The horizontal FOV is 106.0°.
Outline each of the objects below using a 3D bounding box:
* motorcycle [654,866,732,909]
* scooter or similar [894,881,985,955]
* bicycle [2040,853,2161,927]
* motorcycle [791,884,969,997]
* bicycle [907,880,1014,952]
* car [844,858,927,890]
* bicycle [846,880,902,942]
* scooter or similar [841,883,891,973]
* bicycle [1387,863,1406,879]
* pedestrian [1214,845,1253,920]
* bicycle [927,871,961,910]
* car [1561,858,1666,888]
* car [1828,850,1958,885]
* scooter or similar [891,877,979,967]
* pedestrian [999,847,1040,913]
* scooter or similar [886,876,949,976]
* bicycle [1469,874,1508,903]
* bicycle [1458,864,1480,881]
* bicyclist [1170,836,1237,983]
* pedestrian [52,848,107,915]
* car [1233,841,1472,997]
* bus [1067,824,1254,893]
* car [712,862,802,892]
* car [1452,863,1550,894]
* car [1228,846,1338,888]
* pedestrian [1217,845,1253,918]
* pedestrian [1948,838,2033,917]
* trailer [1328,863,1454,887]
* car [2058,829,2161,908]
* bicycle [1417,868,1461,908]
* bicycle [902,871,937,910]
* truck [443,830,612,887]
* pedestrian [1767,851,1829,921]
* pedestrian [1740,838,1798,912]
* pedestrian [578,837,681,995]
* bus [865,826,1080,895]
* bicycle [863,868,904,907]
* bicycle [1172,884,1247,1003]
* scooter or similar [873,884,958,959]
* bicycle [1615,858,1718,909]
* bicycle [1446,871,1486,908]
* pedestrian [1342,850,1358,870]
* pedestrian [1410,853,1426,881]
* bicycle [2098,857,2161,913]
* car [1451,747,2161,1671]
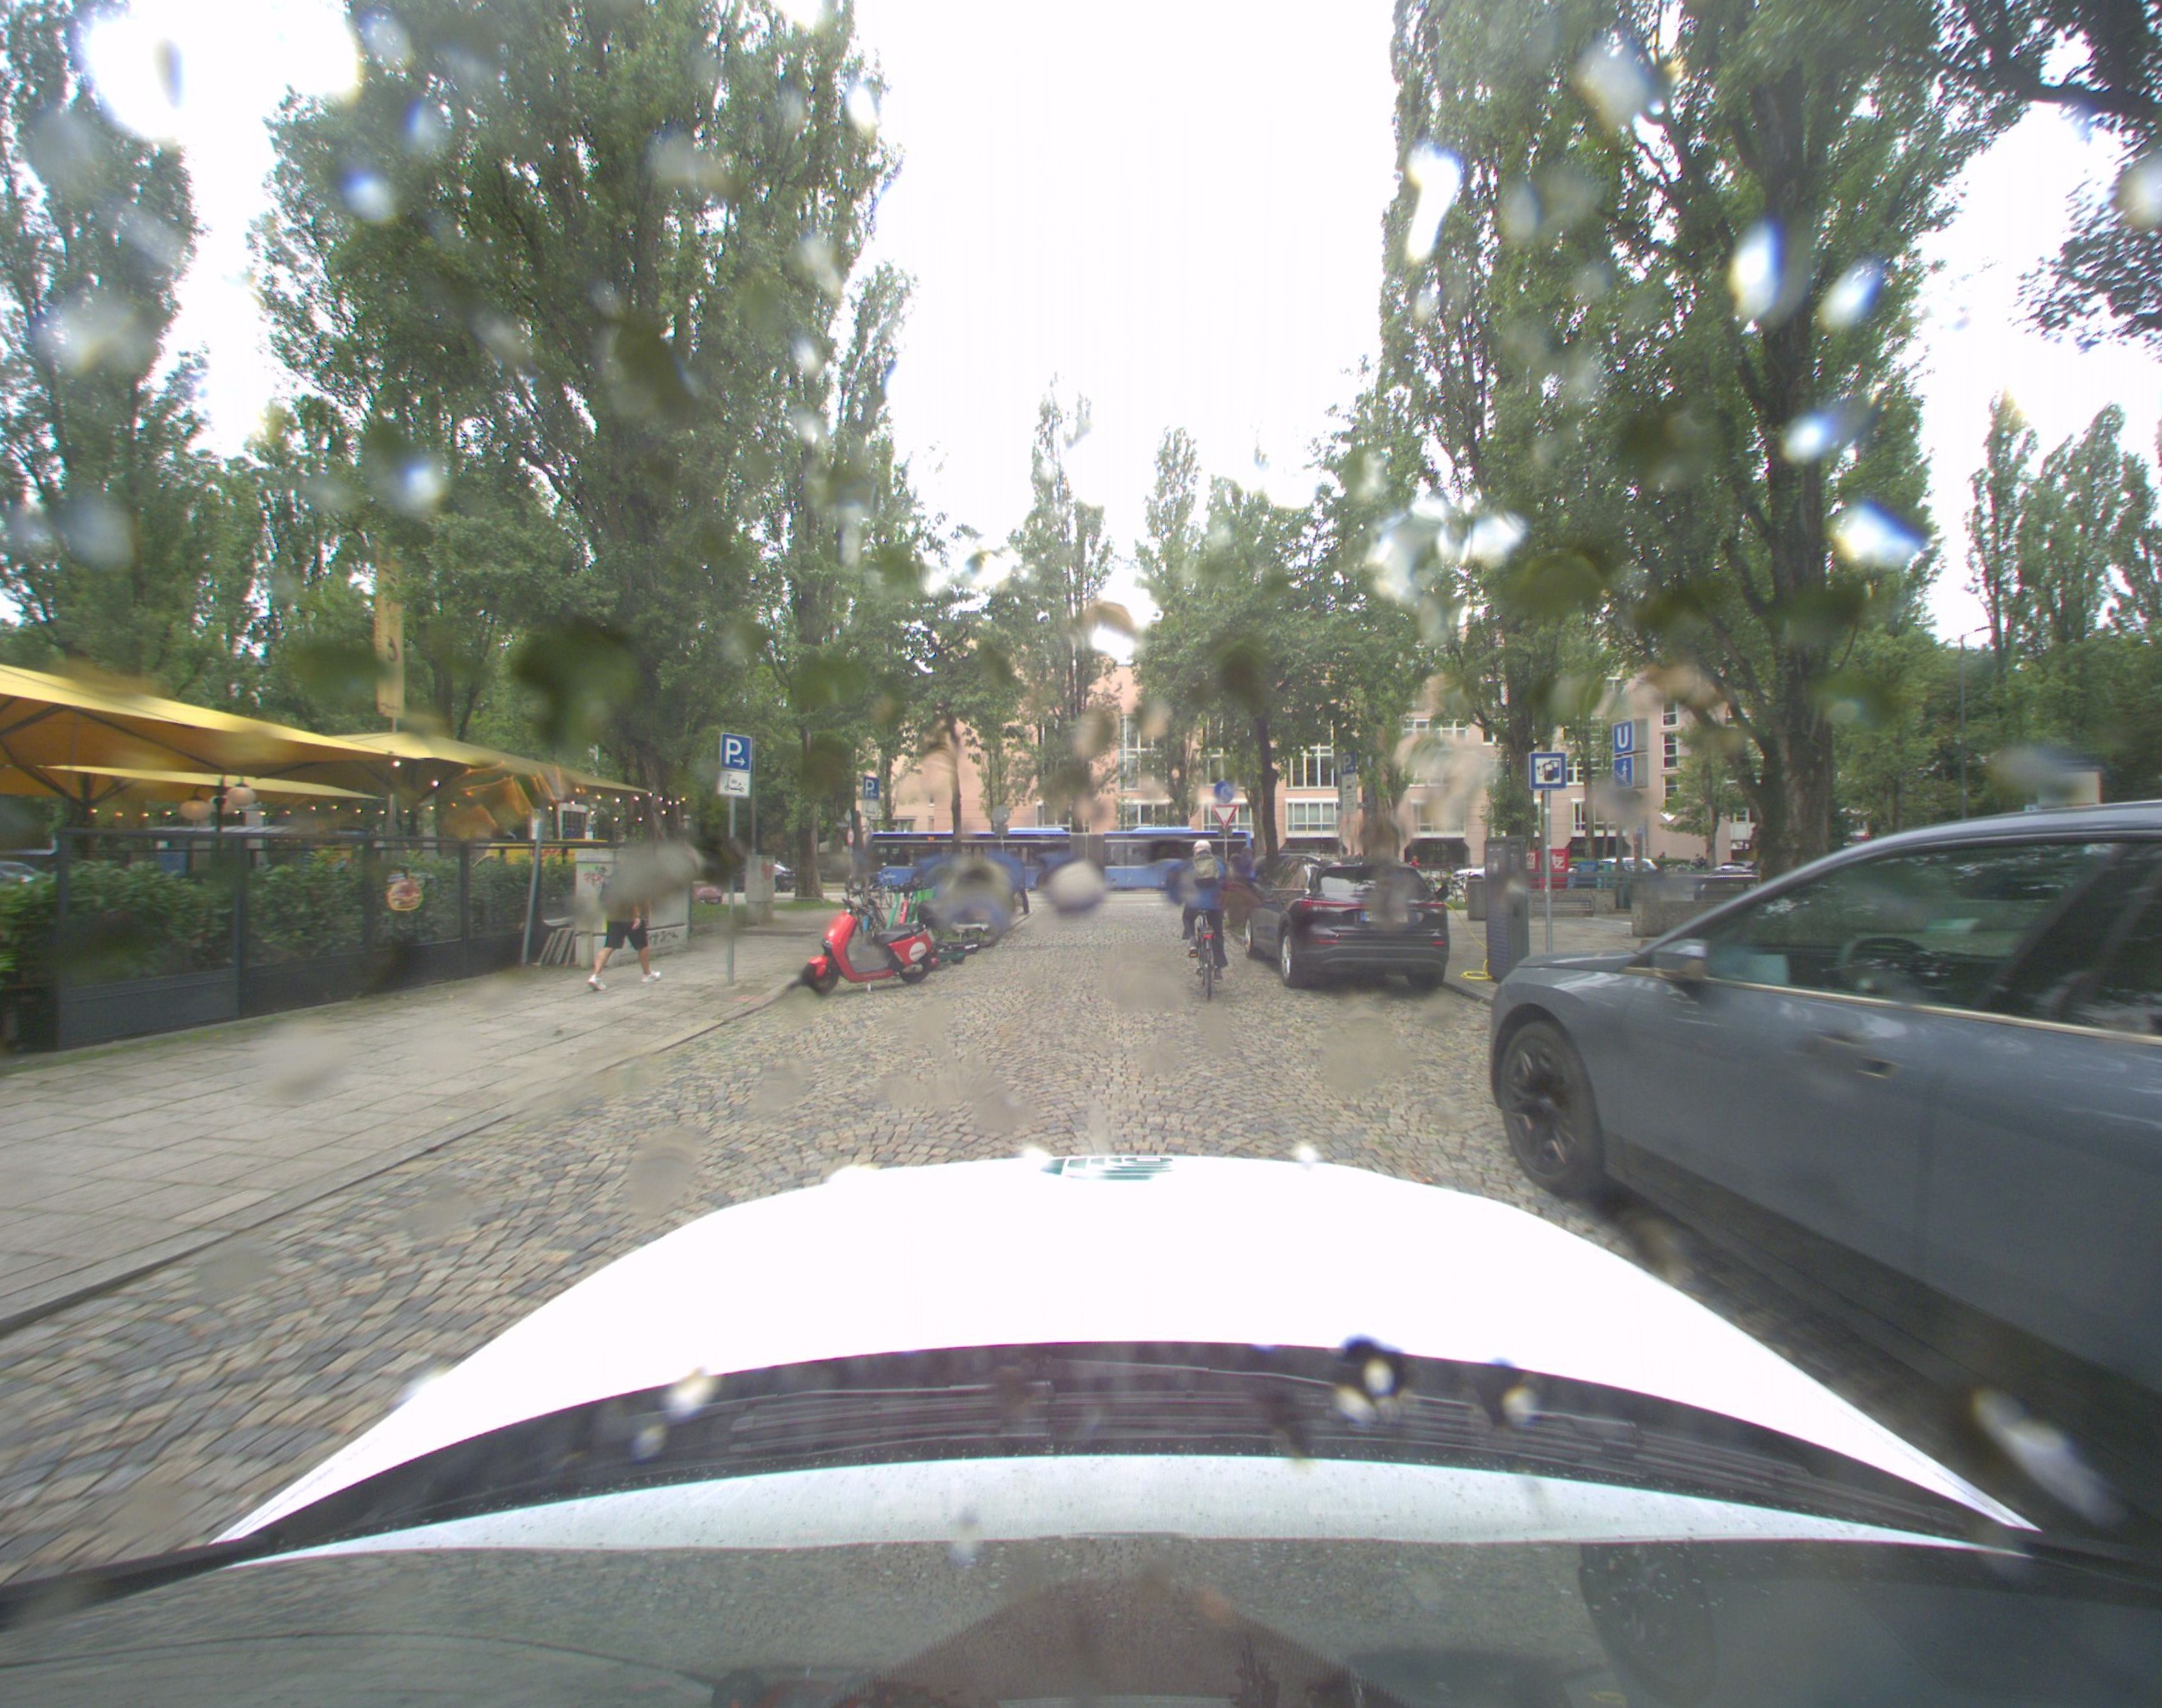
[{"bbox_3d":[-11.516,0.961,24.231,2.002,1.196,0.622,0,-1,-41],"label":"motorcycle"},{"bbox_3d":[-2.317,1.036,13.373,1.431,1.144,0.367,0,-1,-22],"label":"scooter or similar"},{"bbox_3d":[16.711,0.560,13.063,1.855,1.160,0.588,0,-1,3],"label":"bicycle"},{"bbox_3d":[-2.421,0.993,9.969,2.001,1.196,0.762,0,-1,-41],"label":"motorcycle"},{"bbox_3d":[-2.086,1.047,14.167,1.767,1.143,0.549,0,-1,-29],"label":"bicycle"},{"bbox_3d":[-10.690,1.108,44.754,4.050,1.732,1.794,0,-2,1],"label":"car"},{"bbox_3d":[-3.759,1.003,14.905,0.550,1.022,1.763,0,0,1],"label":"bicycle"},{"bbox_3d":[-3.087,1.029,11.646,0.391,1.180,1.239,0,-1,-29],"label":"scooter or similar"},{"bbox_3d":[22.037,1.164,56.851,0.671,1.124,1.991,-1,0,4],"label":"bicycle"},{"bbox_3d":[3.501,0.646,18.686,0.837,1.680,0.613,0,-1,12],"label":"pedestrian"},{"bbox_3d":[-4.067,1.072,24.320,0.487,1.093,1.707,0,-1,8],"label":"bicycle"},{"bbox_3d":[28.215,0.996,43.268,4.295,1.542,2.000,0,-1,1],"label":"car"},{"bbox_3d":[42.556,0.711,42.768,4.727,1.797,2.001,0,-1,2],"label":"car"},{"bbox_3d":[-2.172,0.990,12.157,1.254,1.273,0.324,0,-1,-29],"label":"scooter or similar"},{"bbox_3d":[-1.618,0.676,21.514,0.952,1.711,0.858,-1,-1,1],"label":"pedestrian"},{"bbox_3d":[-2.234,0.954,11.258,0.324,1.273,1.362,0,-1,13],"label":"scooter or similar"},{"bbox_3d":[11.806,0.989,23.639,0.467,0.818,1.837,0,-1,8],"label":"bicycle"},{"bbox_3d":[26.915,1.275,56.486,0.671,1.124,1.991,-1,0,4],"label":"bicycle"},{"bbox_3d":[1.389,0.610,9.338,0.718,1.619,0.758,0,-1,5],"label":"bicyclist"},{"bbox_3d":[-26.547,0.717,21.600,0.645,1.728,0.698,0,-1,-21],"label":"pedestrian"},{"bbox_3d":[3.375,0.729,11.038,1.914,1.700,4.202,0,0,1],"label":"car"},{"bbox_3d":[3.671,0.206,38.526,8.455,3.052,2.929,-1,-1,2],"label":"bus"},{"bbox_3d":[-17.802,1.269,44.860,4.205,1.601,1.795,0,-1,3],"label":"car"},{"bbox_3d":[22.165,1.304,43.105,4.200,1.542,1.808,-1,-2,5],"label":"car"},{"bbox_3d":[10.827,0.687,43.948,5.456,2.197,2.025,0,-1,3],"label":"car"},{"bbox_3d":[3.659,0.633,19.327,0.798,1.696,0.666,0,-1,12],"label":"pedestrian"},{"bbox_3d":[21.872,0.554,19.607,1.005,1.866,0.921,0,-1,8],"label":"pedestrian"},{"bbox_3d":[16.480,1.121,43.593,5.884,1.199,2.407,0,0,3],"label":"trailer"},{"bbox_3d":[28.292,0.369,20.395,5.161,1.896,1.817,1,0,5],"label":"car"},{"bbox_3d":[10.328,0.953,23.548,0.509,1.105,1.932,0,-1,3],"label":"bicycle"},{"bbox_3d":[-4.835,1.079,24.515,0.487,1.093,1.707,0,-1,8],"label":"bicycle"},{"bbox_3d":[-29.050,0.252,42.929,7.030,2.908,2.602,0,-1,1],"label":"truck"},{"bbox_3d":[16.757,0.740,19.049,0.826,1.606,0.700,0,-1,8],"label":"pedestrian"},{"bbox_3d":[17.113,0.522,20.274,0.836,1.803,0.752,0,-1,8],"label":"pedestrian"},{"bbox_3d":[-5.314,0.709,9.620,0.747,1.773,0.706,2,-1,2],"label":"pedestrian"},{"bbox_3d":[-4.973,0.320,38.774,9.728,3.052,2.928,-1,-1,1],"label":"bus"},{"bbox_3d":[-5.924,0.994,24.538,0.487,1.093,1.988,0,-1,8],"label":"bicycle"},{"bbox_3d":[1.435,0.961,9.382,0.713,1.147,1.903,0,0,5],"label":"bicycle"},{"bbox_3d":[-2.554,1.038,12.607,1.242,1.144,0.328,0,-1,3],"label":"scooter or similar"},{"bbox_3d":[13.602,0.668,18.970,1.849,1.160,0.590,0,-1,14],"label":"bicycle"},{"bbox_3d":[11.089,1.006,23.505,0.509,1.038,1.837,0,-1,8],"label":"bicycle"},{"bbox_3d":[17.751,0.395,53.755,0.710,1.369,0.725,0,-1,-26],"label":"pedestrian"},{"bbox_3d":[20.769,0.805,50.195,0.726,1.714,0.710,0,-1,4],"label":"pedestrian"},{"bbox_3d":[22.716,0.643,17.117,1.855,1.160,0.588,0,-1,3],"label":"bicycle"},{"bbox_3d":[3.008,0.663,2.179,2.006,1.700,4.674,0,0,1],"label":"car"}]
